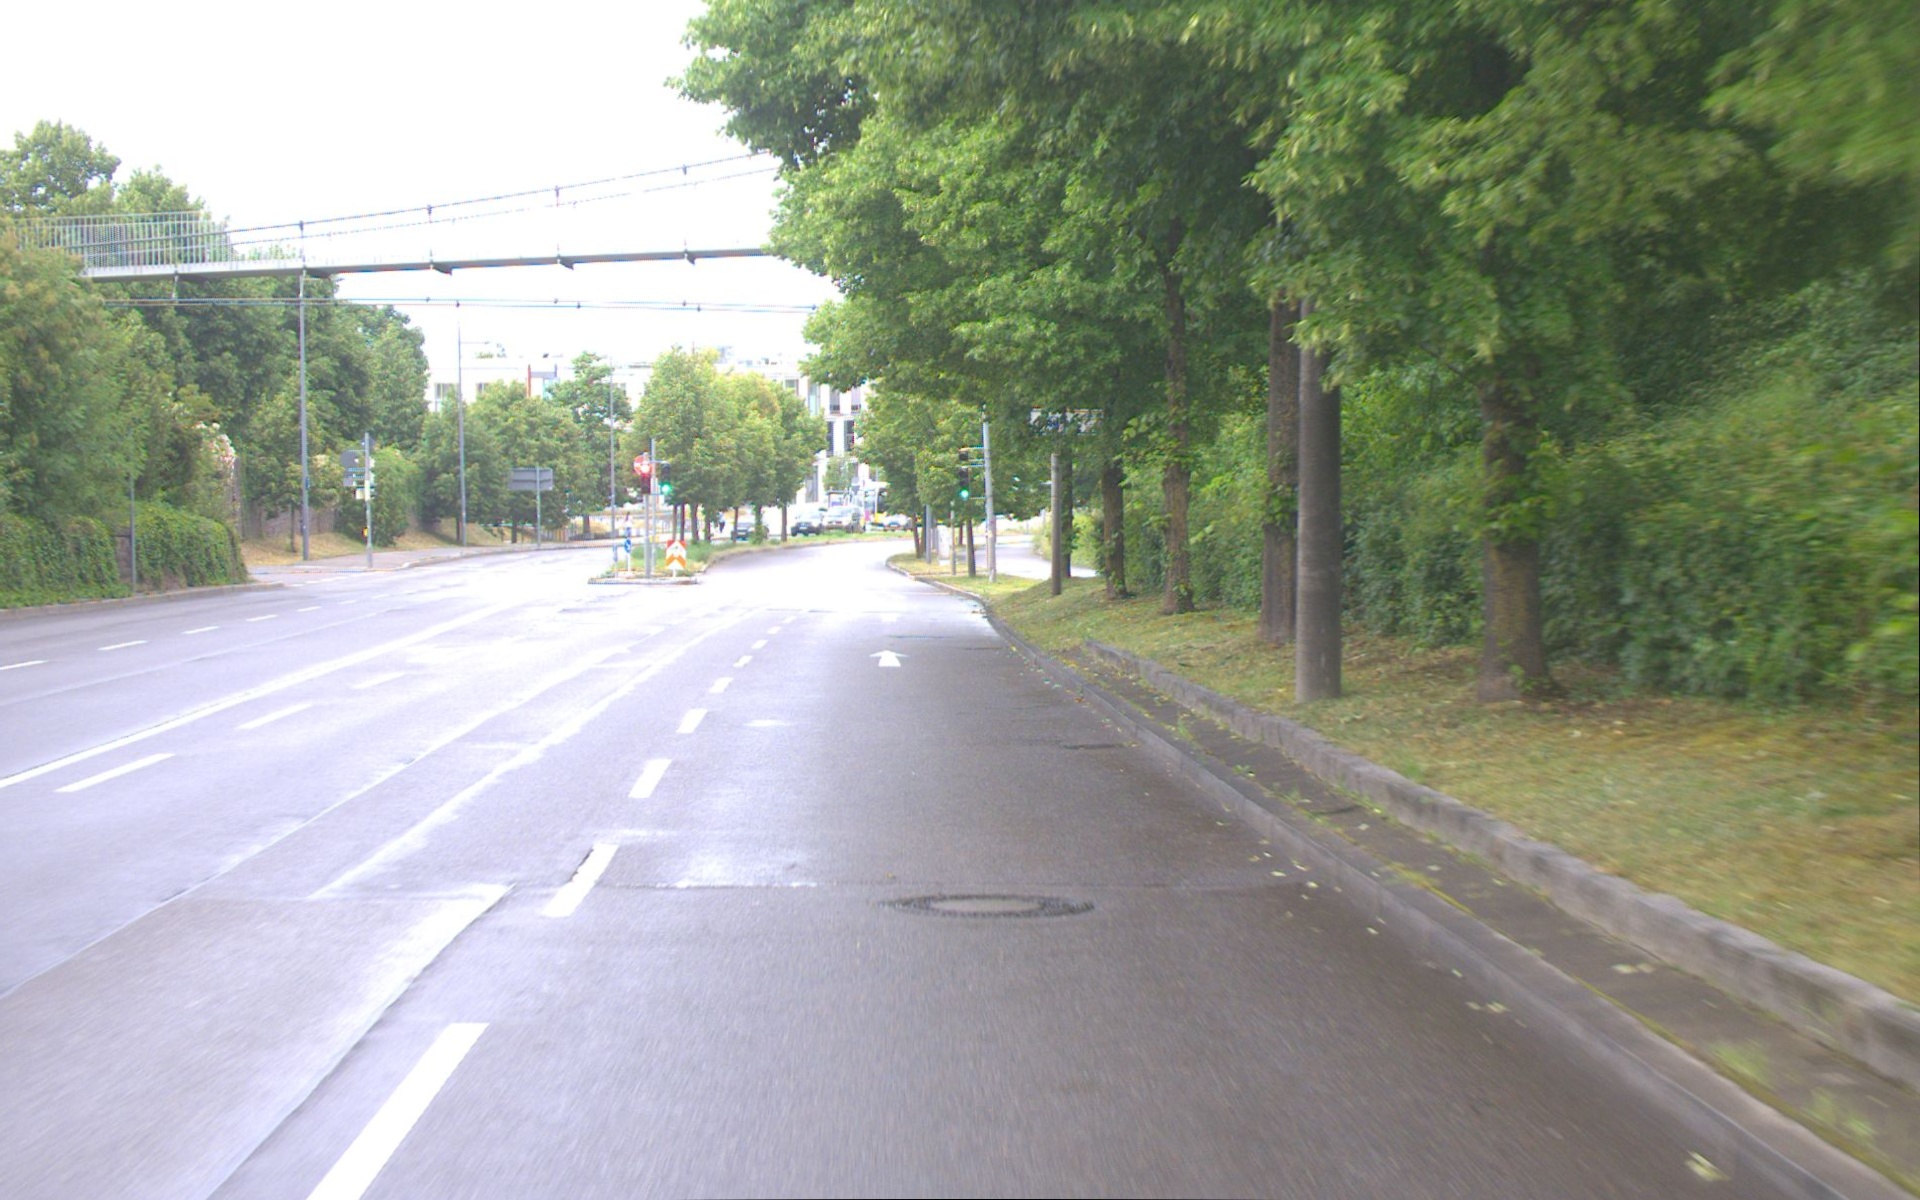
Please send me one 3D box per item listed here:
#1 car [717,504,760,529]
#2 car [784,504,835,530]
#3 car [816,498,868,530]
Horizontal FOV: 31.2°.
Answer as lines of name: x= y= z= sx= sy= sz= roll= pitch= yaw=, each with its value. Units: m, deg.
car: x=-13.178 y=-4.981 z=204.710 sx=1.599 sy=1.484 sz=3.998 roll=1 pitch=1 yaw=11
car: x=-9.601 y=-5.296 z=219.851 sx=1.882 sy=1.589 sz=4.763 roll=2 pitch=1 yaw=14
car: x=-7.428 y=-5.391 z=216.107 sx=2.015 sy=1.912 sz=5.092 roll=1 pitch=1 yaw=13
